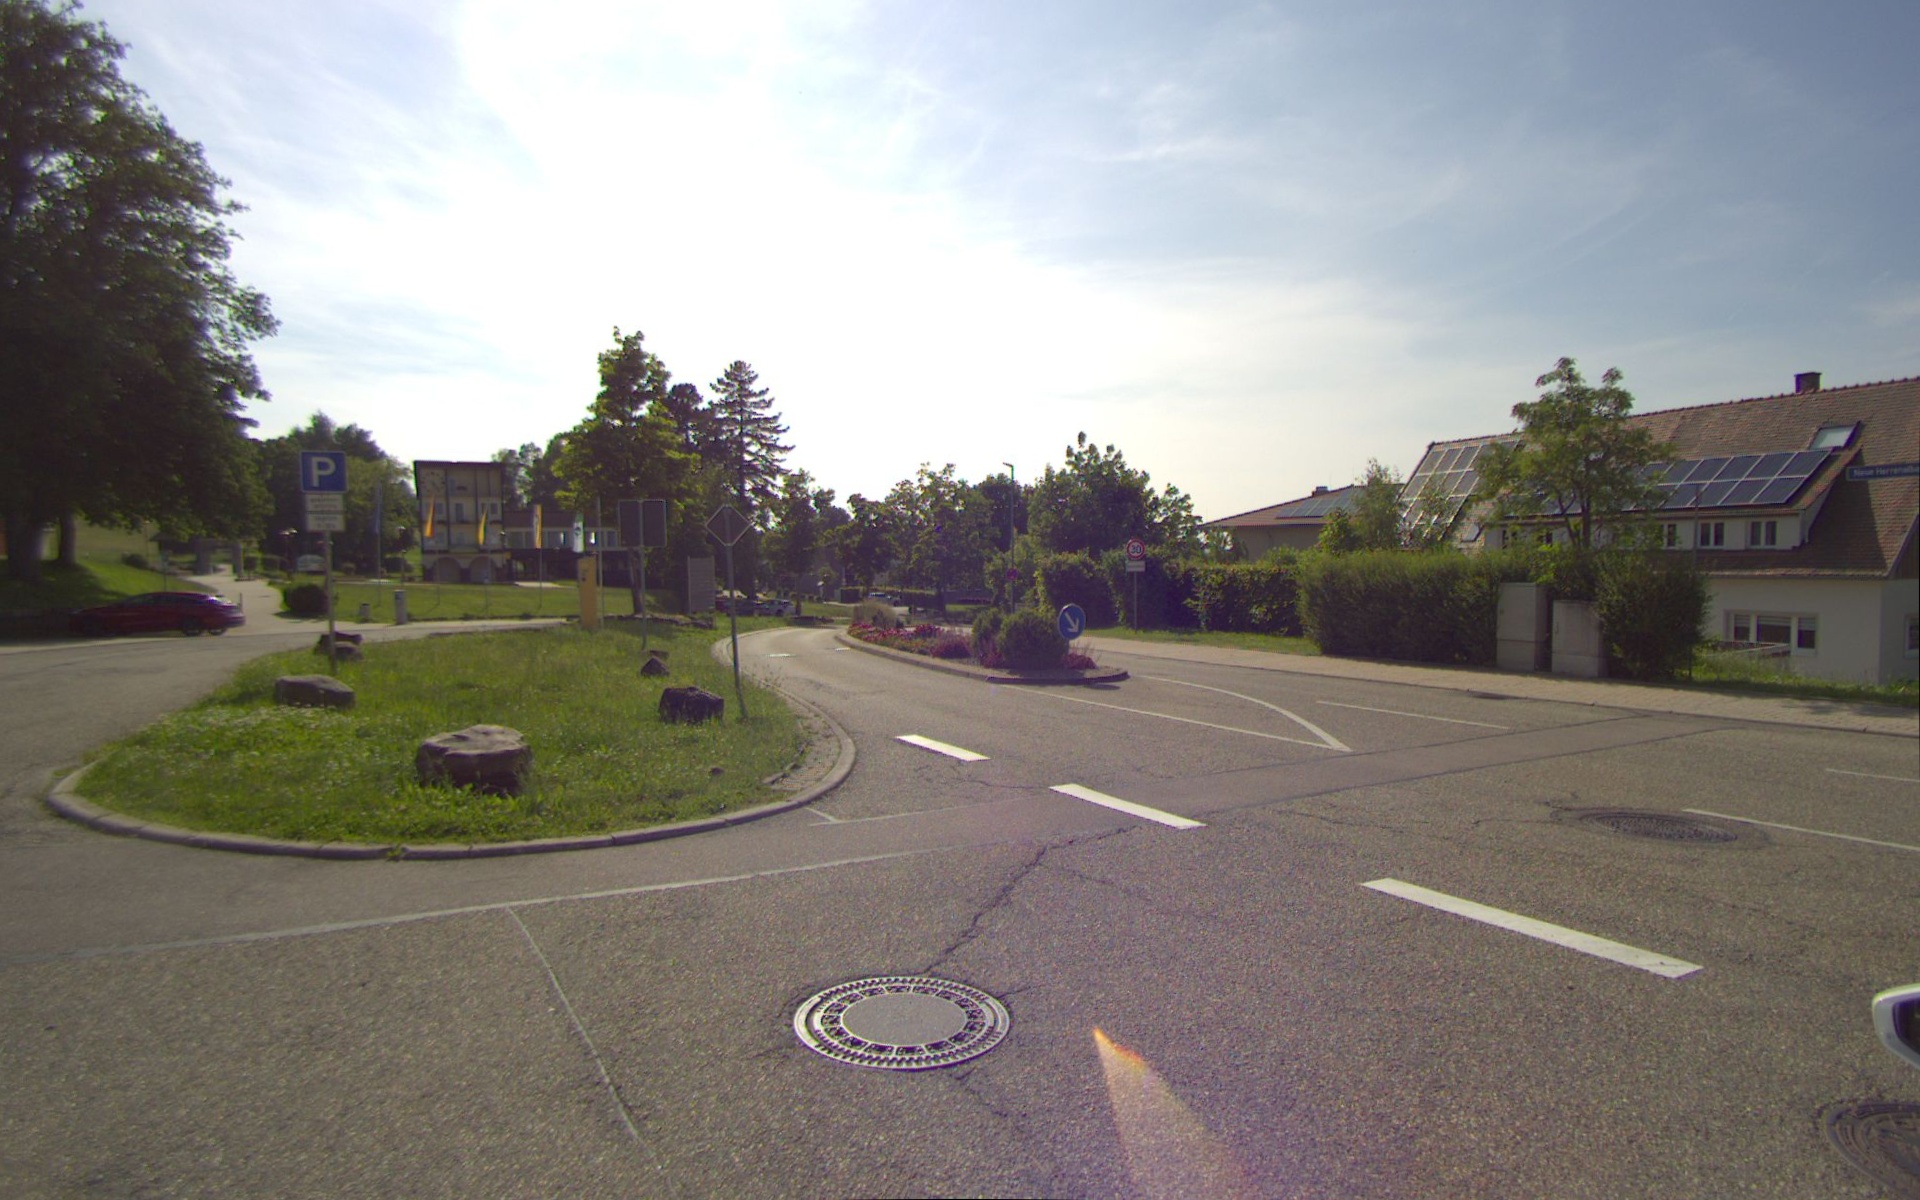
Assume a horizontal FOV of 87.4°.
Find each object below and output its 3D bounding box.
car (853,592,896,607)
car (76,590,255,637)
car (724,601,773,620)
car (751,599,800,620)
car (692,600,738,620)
[{"bbox_3d":[-10.147,-0.044,119.411,4.678,1.555,1.982,-1,6,-33],"label":"car"},{"bbox_3d":[-25.749,0.434,32.703,4.166,1.417,1.819,1,0,-14],"label":"car"},{"bbox_3d":[-17.737,0.846,84.075,3.643,1.452,1.775,2,0,25],"label":"car"},{"bbox_3d":[-16.191,0.816,87.938,3.866,1.630,1.775,2,0,25],"label":"car"},{"bbox_3d":[-19.793,0.778,81.177,3.146,1.490,1.775,2,0,23],"label":"car"}]
